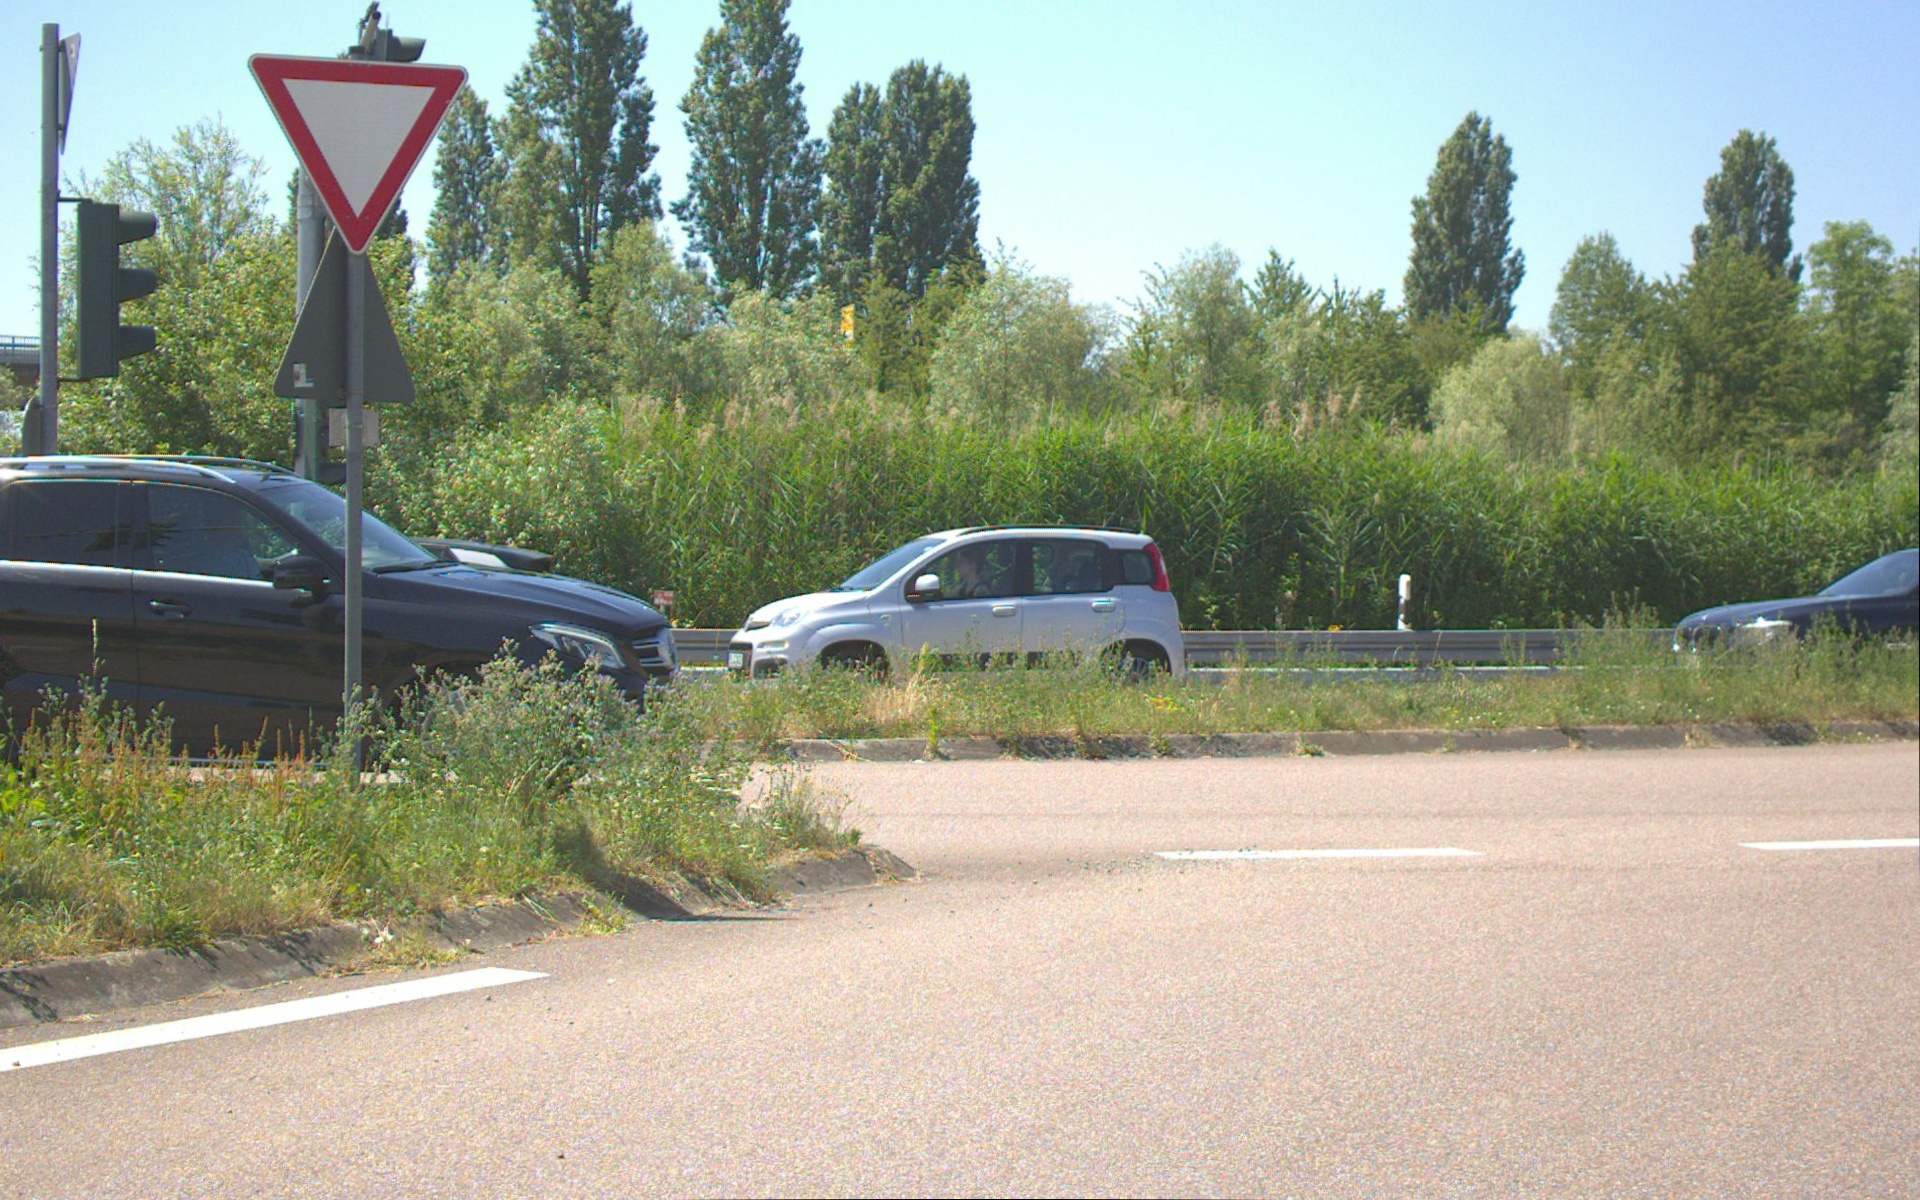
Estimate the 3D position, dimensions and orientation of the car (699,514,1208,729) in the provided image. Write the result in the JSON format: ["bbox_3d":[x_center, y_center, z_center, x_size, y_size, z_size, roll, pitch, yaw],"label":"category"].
[{"bbox_3d":[-0.072,0.135,27.404,3.705,1.626,1.735,0,1,-17],"label":"car"}]

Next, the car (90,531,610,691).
[{"bbox_3d":[-5.438,0.072,31.105,4.391,1.393,2.000,0,1,-2],"label":"car"}]

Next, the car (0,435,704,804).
[{"bbox_3d":[-3.777,0.054,18.064,4.583,1.761,1.933,1,1,5],"label":"car"}]

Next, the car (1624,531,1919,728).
[{"bbox_3d":[8.489,0.212,30.046,4.923,1.626,1.934,0,1,-15],"label":"car"}]
